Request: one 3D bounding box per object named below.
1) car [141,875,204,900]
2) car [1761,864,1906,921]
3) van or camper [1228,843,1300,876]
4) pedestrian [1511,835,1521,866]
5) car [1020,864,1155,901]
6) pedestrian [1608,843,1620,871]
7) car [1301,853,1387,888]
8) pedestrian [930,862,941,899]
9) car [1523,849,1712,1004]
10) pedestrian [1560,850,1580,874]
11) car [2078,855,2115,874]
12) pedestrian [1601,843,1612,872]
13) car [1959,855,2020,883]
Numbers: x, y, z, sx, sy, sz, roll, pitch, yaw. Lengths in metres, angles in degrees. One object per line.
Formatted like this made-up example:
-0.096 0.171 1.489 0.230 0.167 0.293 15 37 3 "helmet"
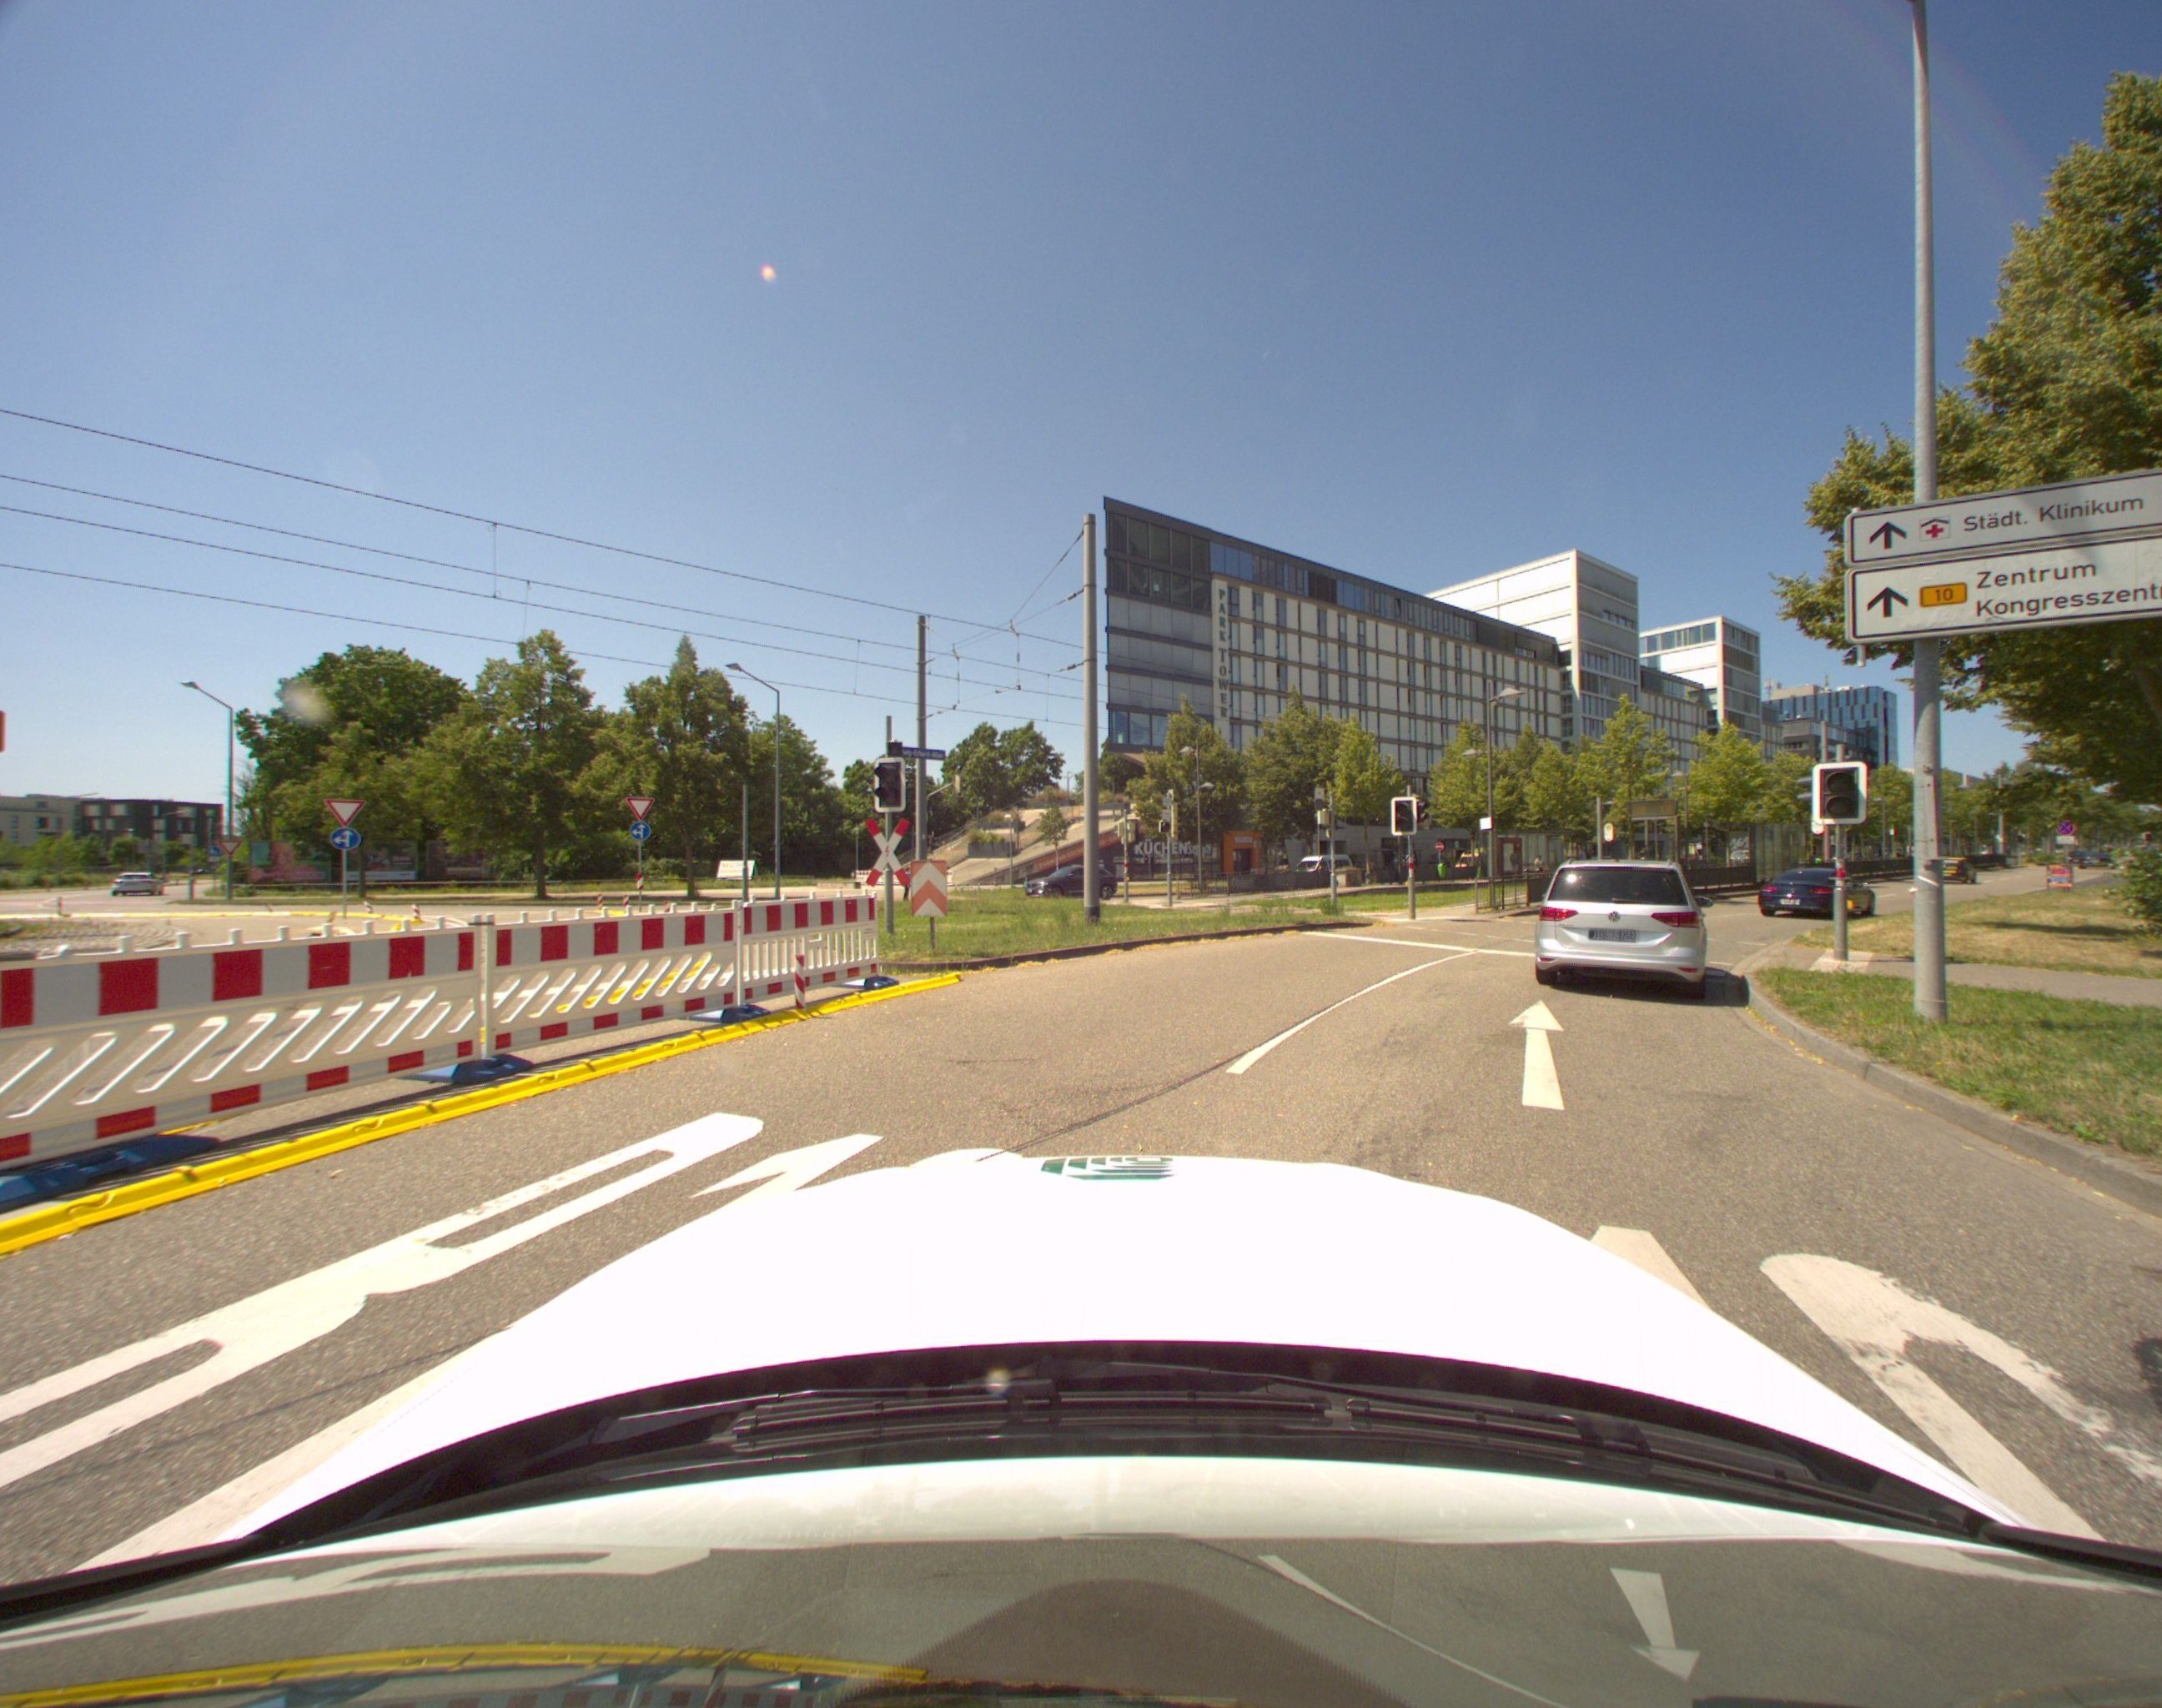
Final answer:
-60.561 2.201 54.365 2.009 1.486 4.317 0 0 -37 "car"
21.270 1.016 22.970 4.973 1.436 1.839 1 -1 -33 "car"
16.209 0.491 71.963 6.817 2.822 2.357 0 -1 -37 "van or camper"
24.321 -0.209 45.551 0.461 1.739 0.481 -1 -1 27 "pedestrian"
0.324 1.242 36.642 5.850 1.517 1.982 0 -1 -28 "car"
33.534 0.201 51.227 0.588 1.752 0.406 0 -1 -37 "pedestrian"
16.316 0.988 50.442 5.562 2.106 1.979 0 -1 -33 "car"
-7.052 1.273 39.391 0.451 1.739 0.288 0 -1 -35 "pedestrian"
7.385 0.793 11.053 1.783 1.649 4.633 0 -1 37 "car"
28.984 0.459 48.264 0.645 1.413 0.828 0 -1 -34 "pedestrian"
88.157 0.872 70.702 3.731 1.627 1.752 0 -1 -35 "car"
32.803 0.223 50.850 0.588 1.752 0.406 0 -1 -37 "pedestrian"
49.345 0.805 44.206 4.001 1.451 1.607 1 -1 -33 "car"
